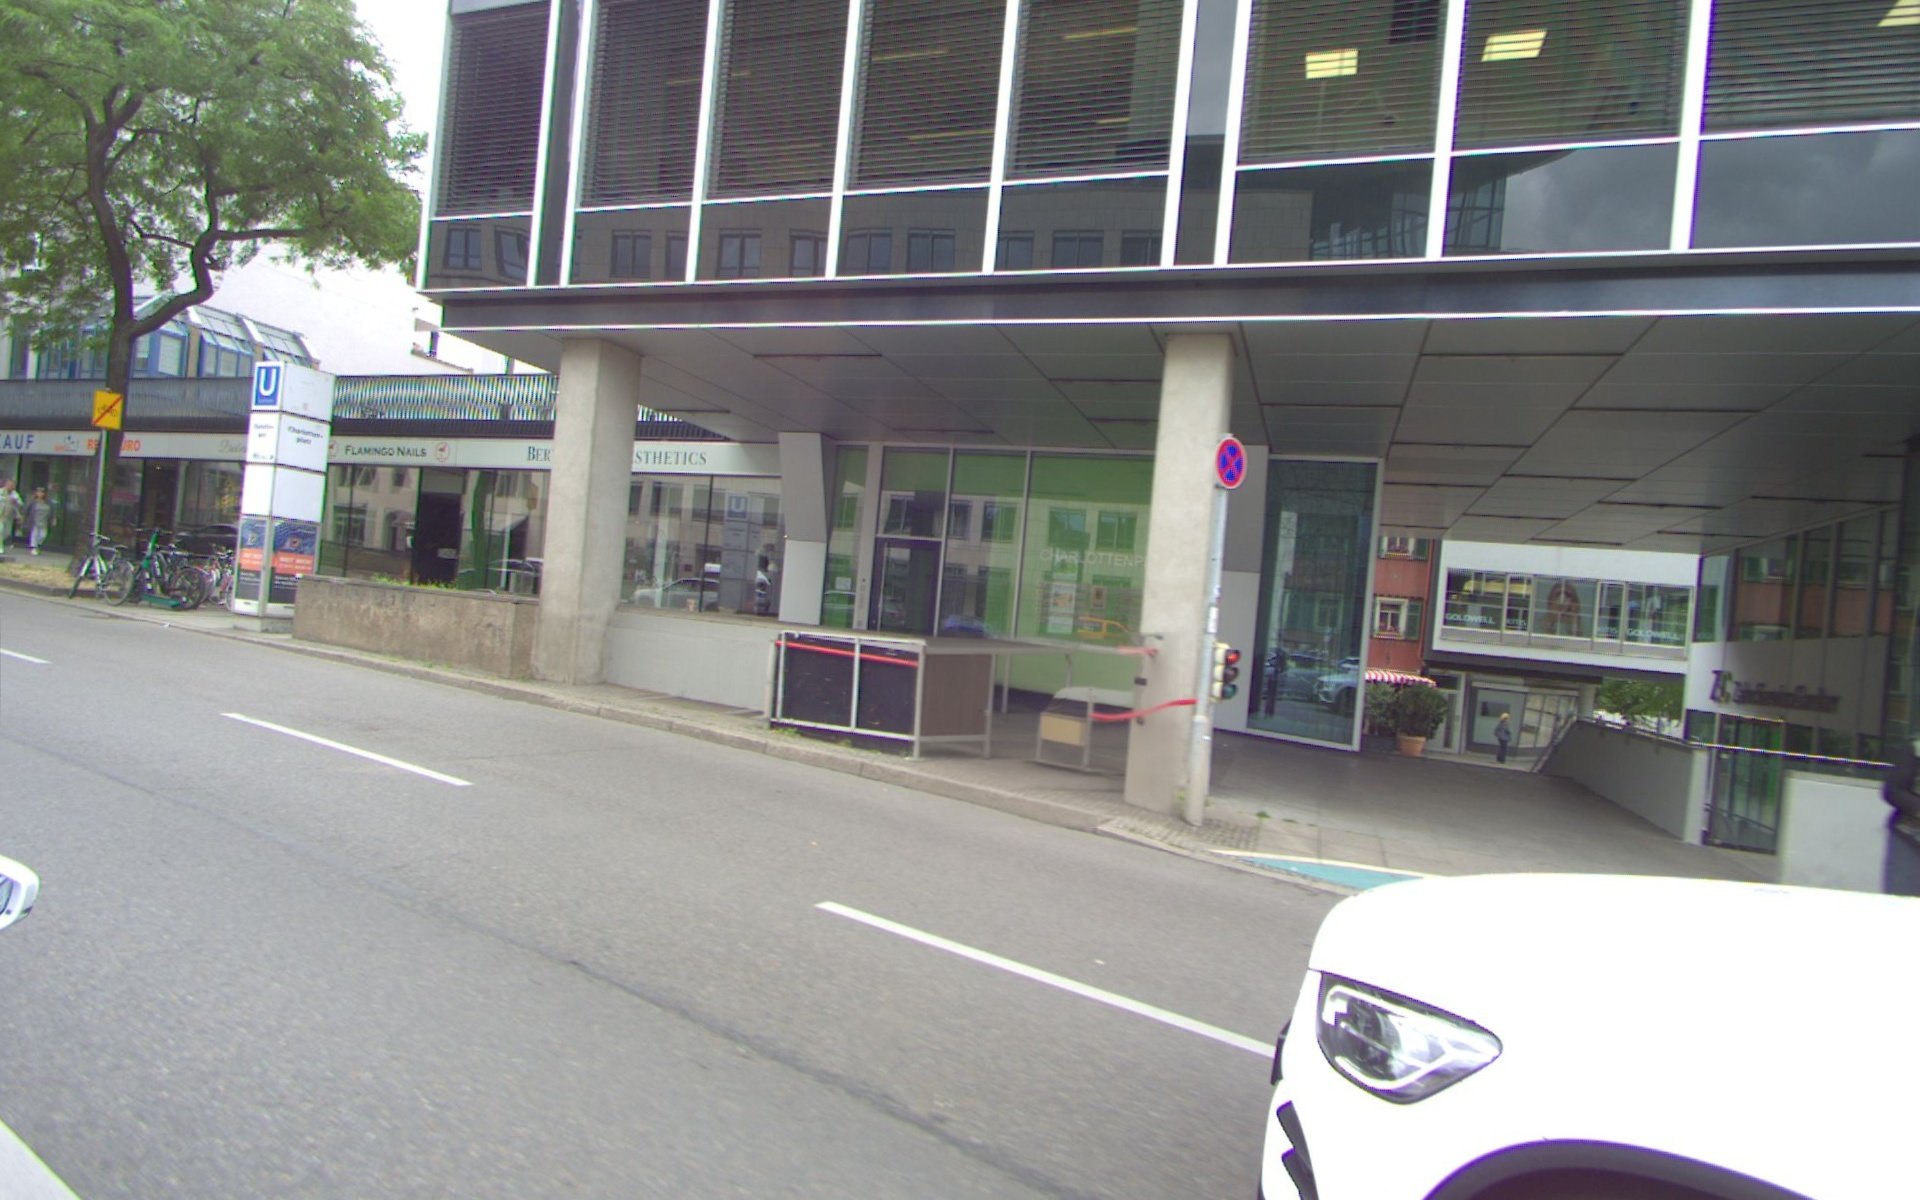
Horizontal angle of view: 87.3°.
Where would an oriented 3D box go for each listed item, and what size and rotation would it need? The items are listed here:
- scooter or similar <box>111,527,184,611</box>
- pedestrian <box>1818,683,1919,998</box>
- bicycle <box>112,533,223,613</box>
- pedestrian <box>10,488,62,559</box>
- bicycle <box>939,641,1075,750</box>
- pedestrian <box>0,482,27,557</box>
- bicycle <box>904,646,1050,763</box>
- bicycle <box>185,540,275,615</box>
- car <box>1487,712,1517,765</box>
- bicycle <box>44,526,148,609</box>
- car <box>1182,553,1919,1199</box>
[{"bbox_3d":[-13.355,-0.506,16.532,0.977,1.267,0.307,6,1,12],"label":"scooter or similar"},{"bbox_3d":[5.661,1.396,5.868,0.739,1.734,0.526,5,1,20],"label":"pedestrian"},{"bbox_3d":[-13.467,-0.463,17.084,1.852,1.147,0.491,6,1,20],"label":"bicycle"},{"bbox_3d":[-23.222,-1.914,25.289,0.743,1.650,0.597,7,1,20],"label":"pedestrian"},{"bbox_3d":[0.563,1.103,11.894,1.458,1.061,0.714,7,0,5],"label":"bicycle"},{"bbox_3d":[-23.417,-1.993,24.472,0.923,1.776,0.597,7,1,20],"label":"pedestrian"},{"bbox_3d":[0.203,1.132,11.143,1.458,1.061,0.714,7,0,5],"label":"bicycle"},{"bbox_3d":[-12.935,-0.397,17.816,1.659,1.147,0.490,6,1,26],"label":"bicycle"},{"bbox_3d":[17.929,4.580,33.277,0.593,1.618,0.453,7,0,12],"label":"car"},{"bbox_3d":[-13.954,-0.534,16.237,1.810,1.147,0.490,6,1,25],"label":"bicycle"},{"bbox_3d":[2.719,0.984,1.501,4.264,1.668,1.802,6,1,34],"label":"car"}]
